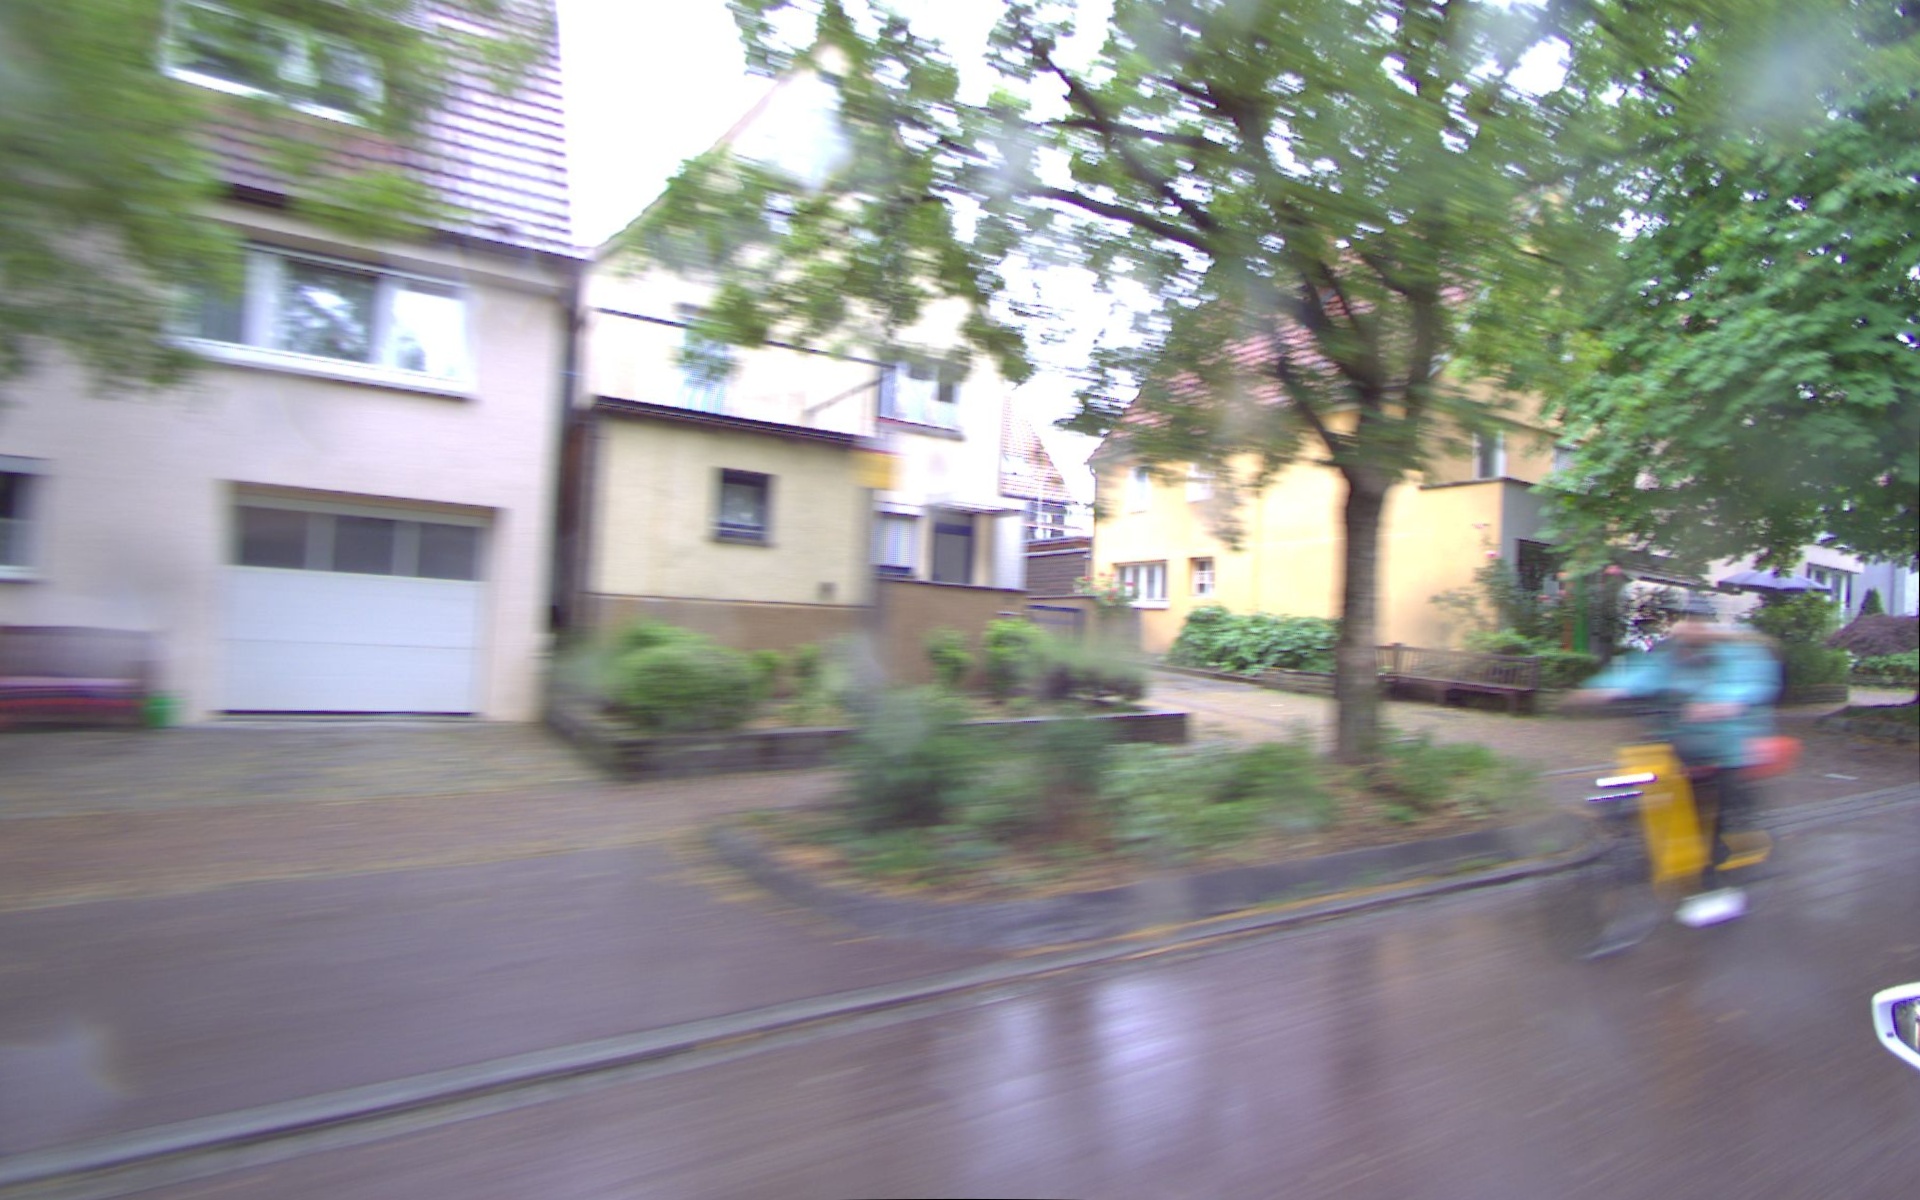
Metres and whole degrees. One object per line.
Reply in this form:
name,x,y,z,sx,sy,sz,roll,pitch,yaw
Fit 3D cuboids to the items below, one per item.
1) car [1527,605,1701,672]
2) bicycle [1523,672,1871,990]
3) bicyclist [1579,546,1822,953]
car,17.599,0.998,27.167,1.618,1.497,3.552,1,2,-30
bicycle,3.593,0.991,4.844,1.958,1.225,0.624,2,0,-31
bicyclist,3.550,0.652,4.822,0.870,1.754,0.624,1,0,-30
